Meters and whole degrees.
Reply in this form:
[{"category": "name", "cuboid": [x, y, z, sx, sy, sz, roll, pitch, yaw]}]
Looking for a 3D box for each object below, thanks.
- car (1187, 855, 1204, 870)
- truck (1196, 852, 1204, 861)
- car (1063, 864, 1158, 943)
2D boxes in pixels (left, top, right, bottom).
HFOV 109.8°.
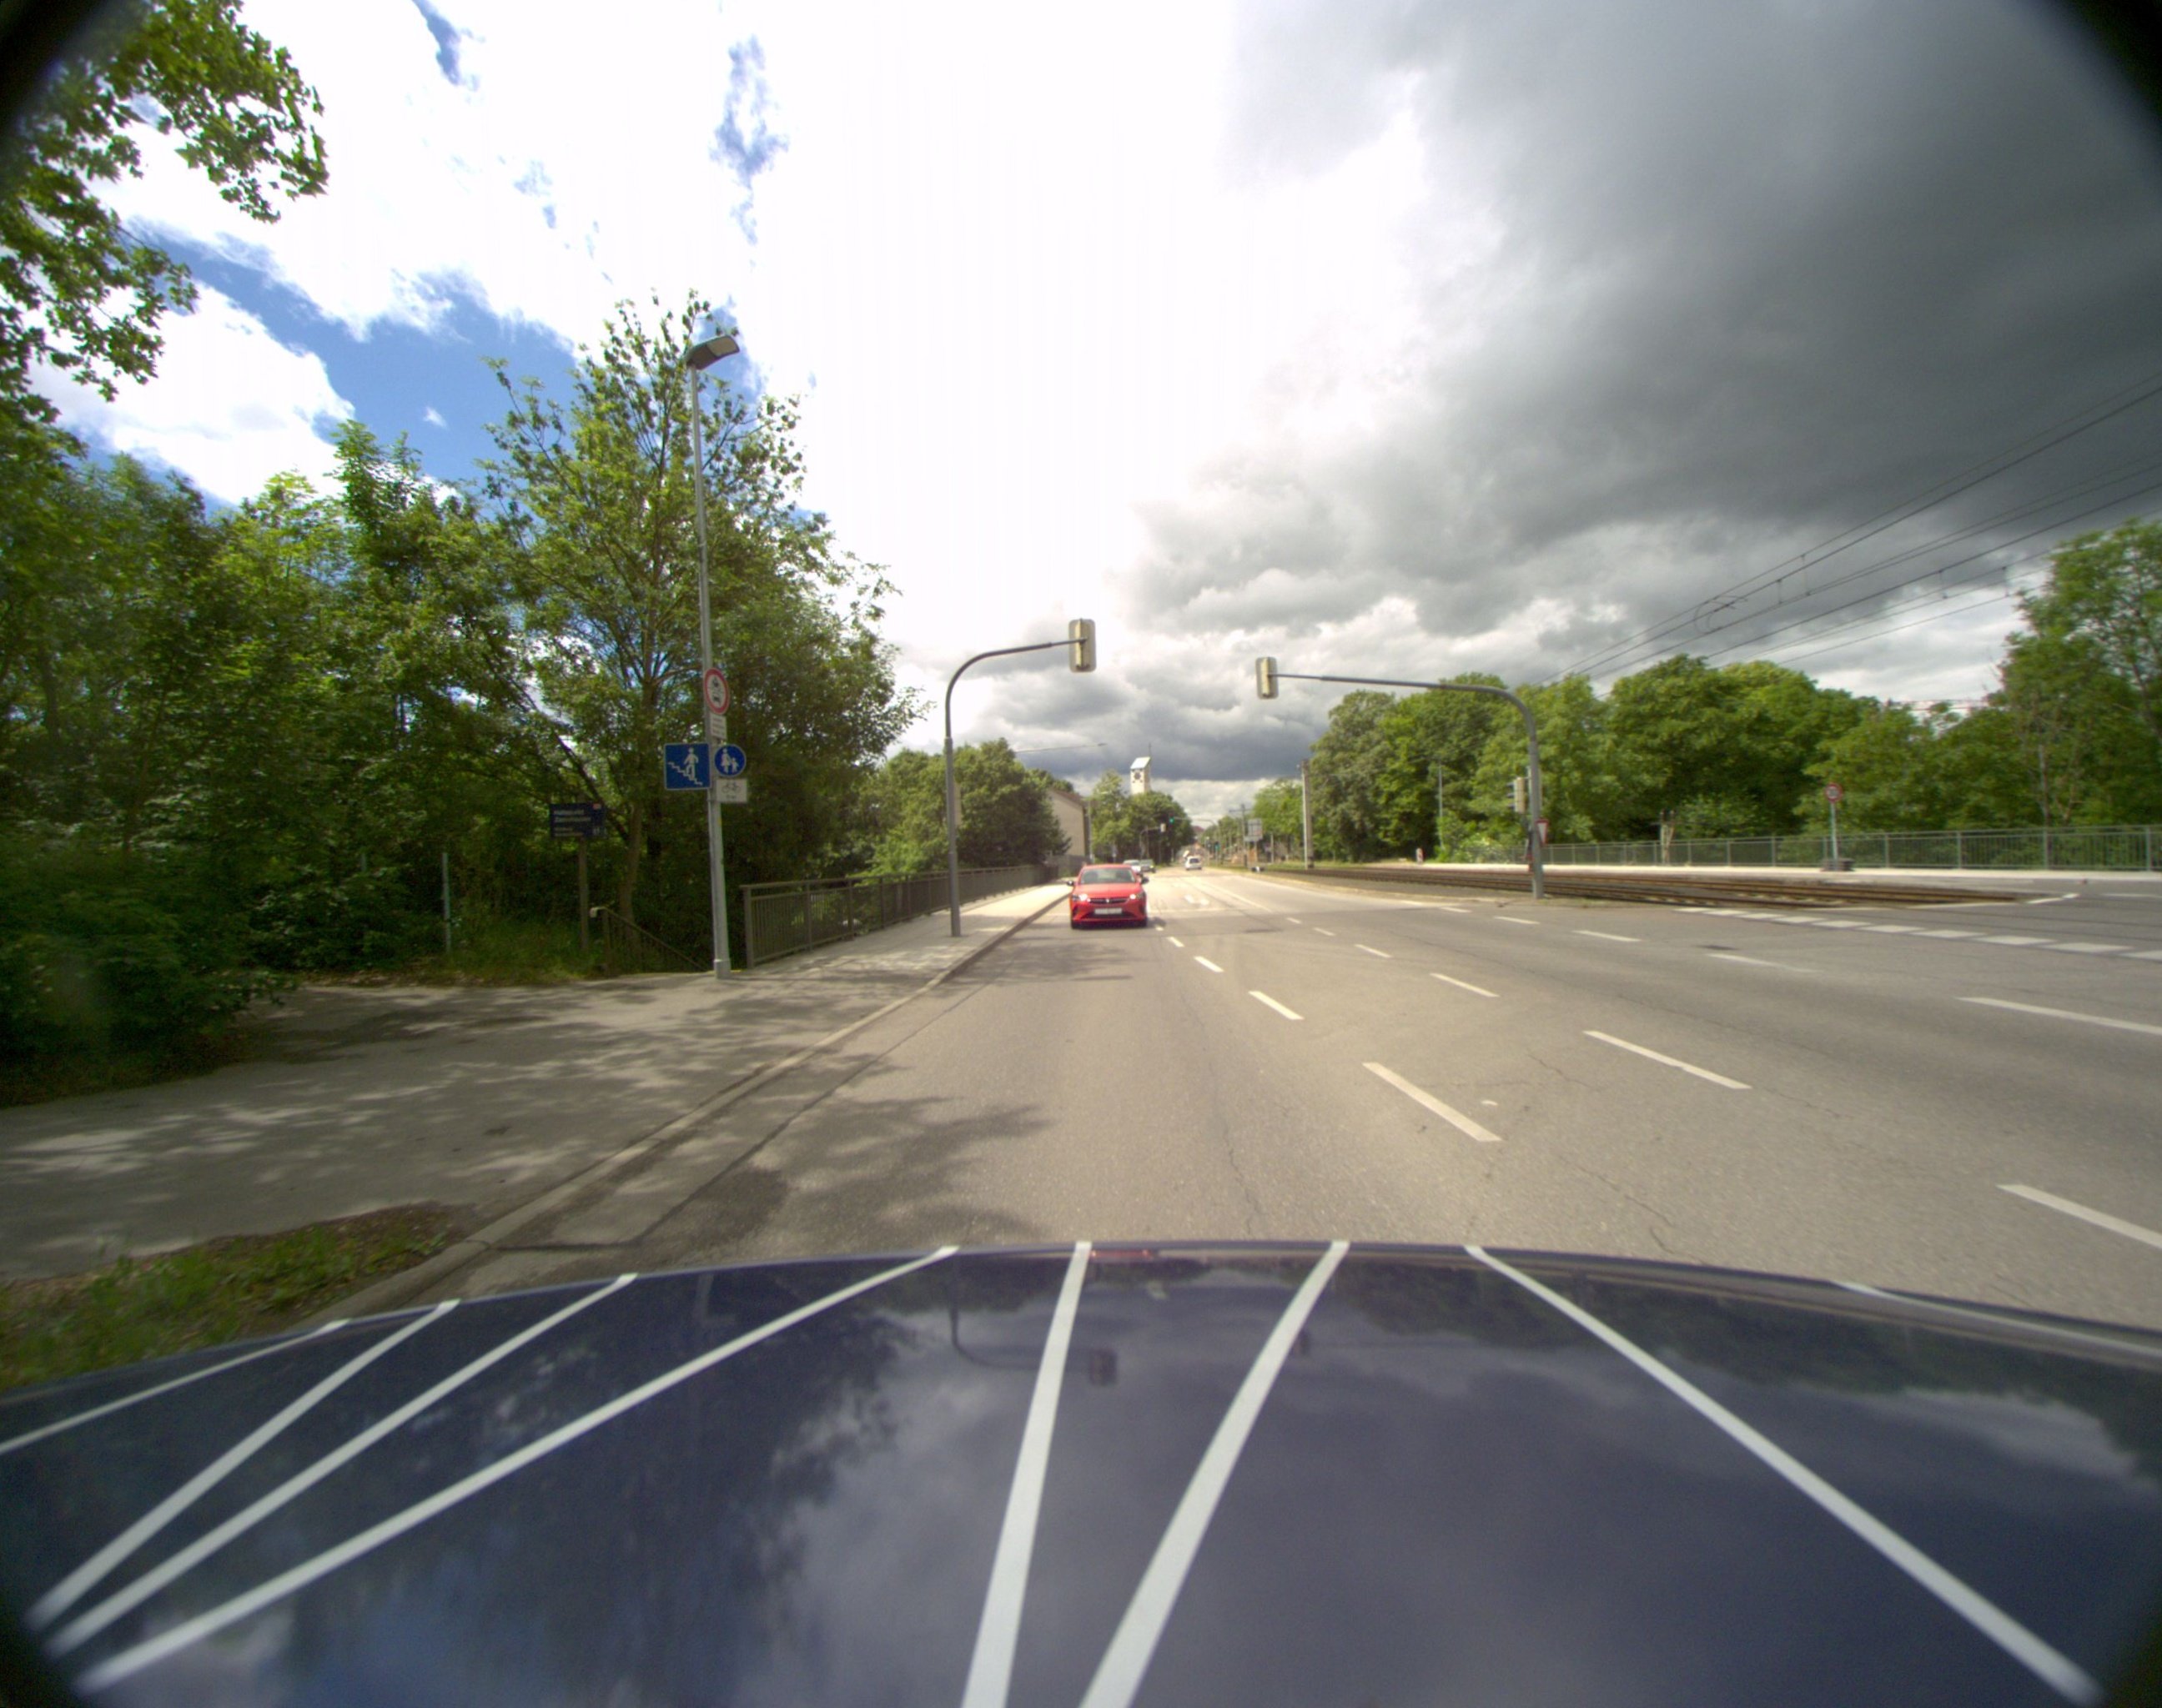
[{"category": "car", "cuboid": [13.097, 0.957, 87.072, 1.596, 1.518, 3.656, -2, 0, 4]}, {"category": "truck", "cuboid": [37.821, 0.891, 240.980, 2.095, 2.723, 5.100, -4, 0, 7]}, {"category": "car", "cuboid": [0.762, 1.006, 16.965, 1.665, 1.512, 3.789, 0, 0, 9]}]
